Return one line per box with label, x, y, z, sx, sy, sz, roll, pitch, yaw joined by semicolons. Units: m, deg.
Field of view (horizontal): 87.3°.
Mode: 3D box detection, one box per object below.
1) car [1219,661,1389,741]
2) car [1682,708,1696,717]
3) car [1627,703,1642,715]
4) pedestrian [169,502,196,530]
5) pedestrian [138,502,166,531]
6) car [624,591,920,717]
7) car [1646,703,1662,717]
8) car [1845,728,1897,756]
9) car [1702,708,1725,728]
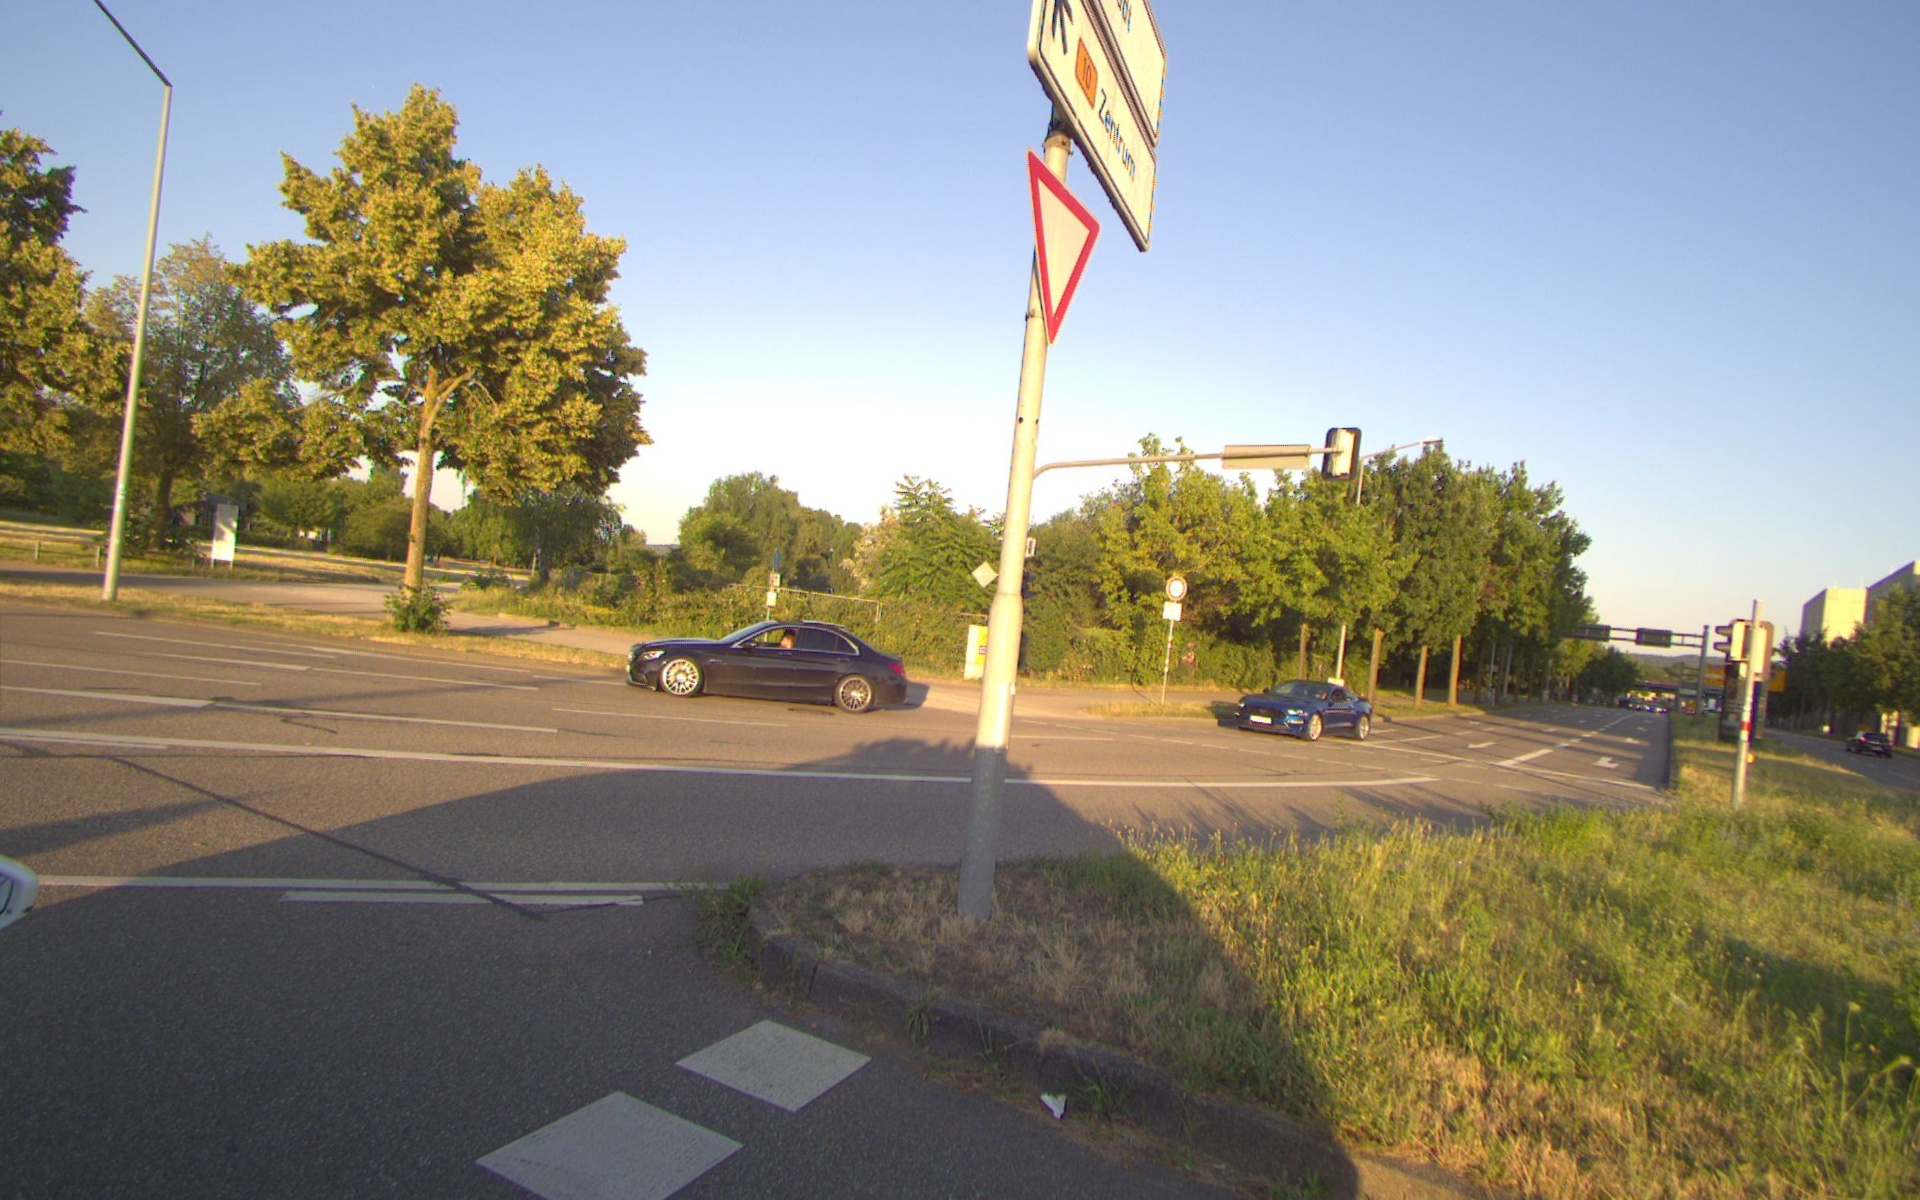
car;8.482;2.502;24.541;1.974;1.523;4.745;6;-1;44
car;153.451;23.682;211.763;1.968;1.648;3.991;6;-1;34
car;121.732;19.659;181.594;1.968;1.801;3.994;6;-2;33
pedestrian;-50.990;-5.480;65.971;0.896;1.637;1.070;7;0;35
pedestrian;-52.374;-5.418;65.238;0.896;1.637;1.070;7;0;35
car;-3.214;0.932;17.105;4.557;1.522;1.992;8;-3;-21
car;117.620;18.670;170.502;1.969;2.037;3.991;6;-2;36
car;56.108;8.733;62.043;1.724;1.395;4.115;6;-2;35
car;90.310;14.093;120.524;1.970;2.038;3.986;7;-1;38
